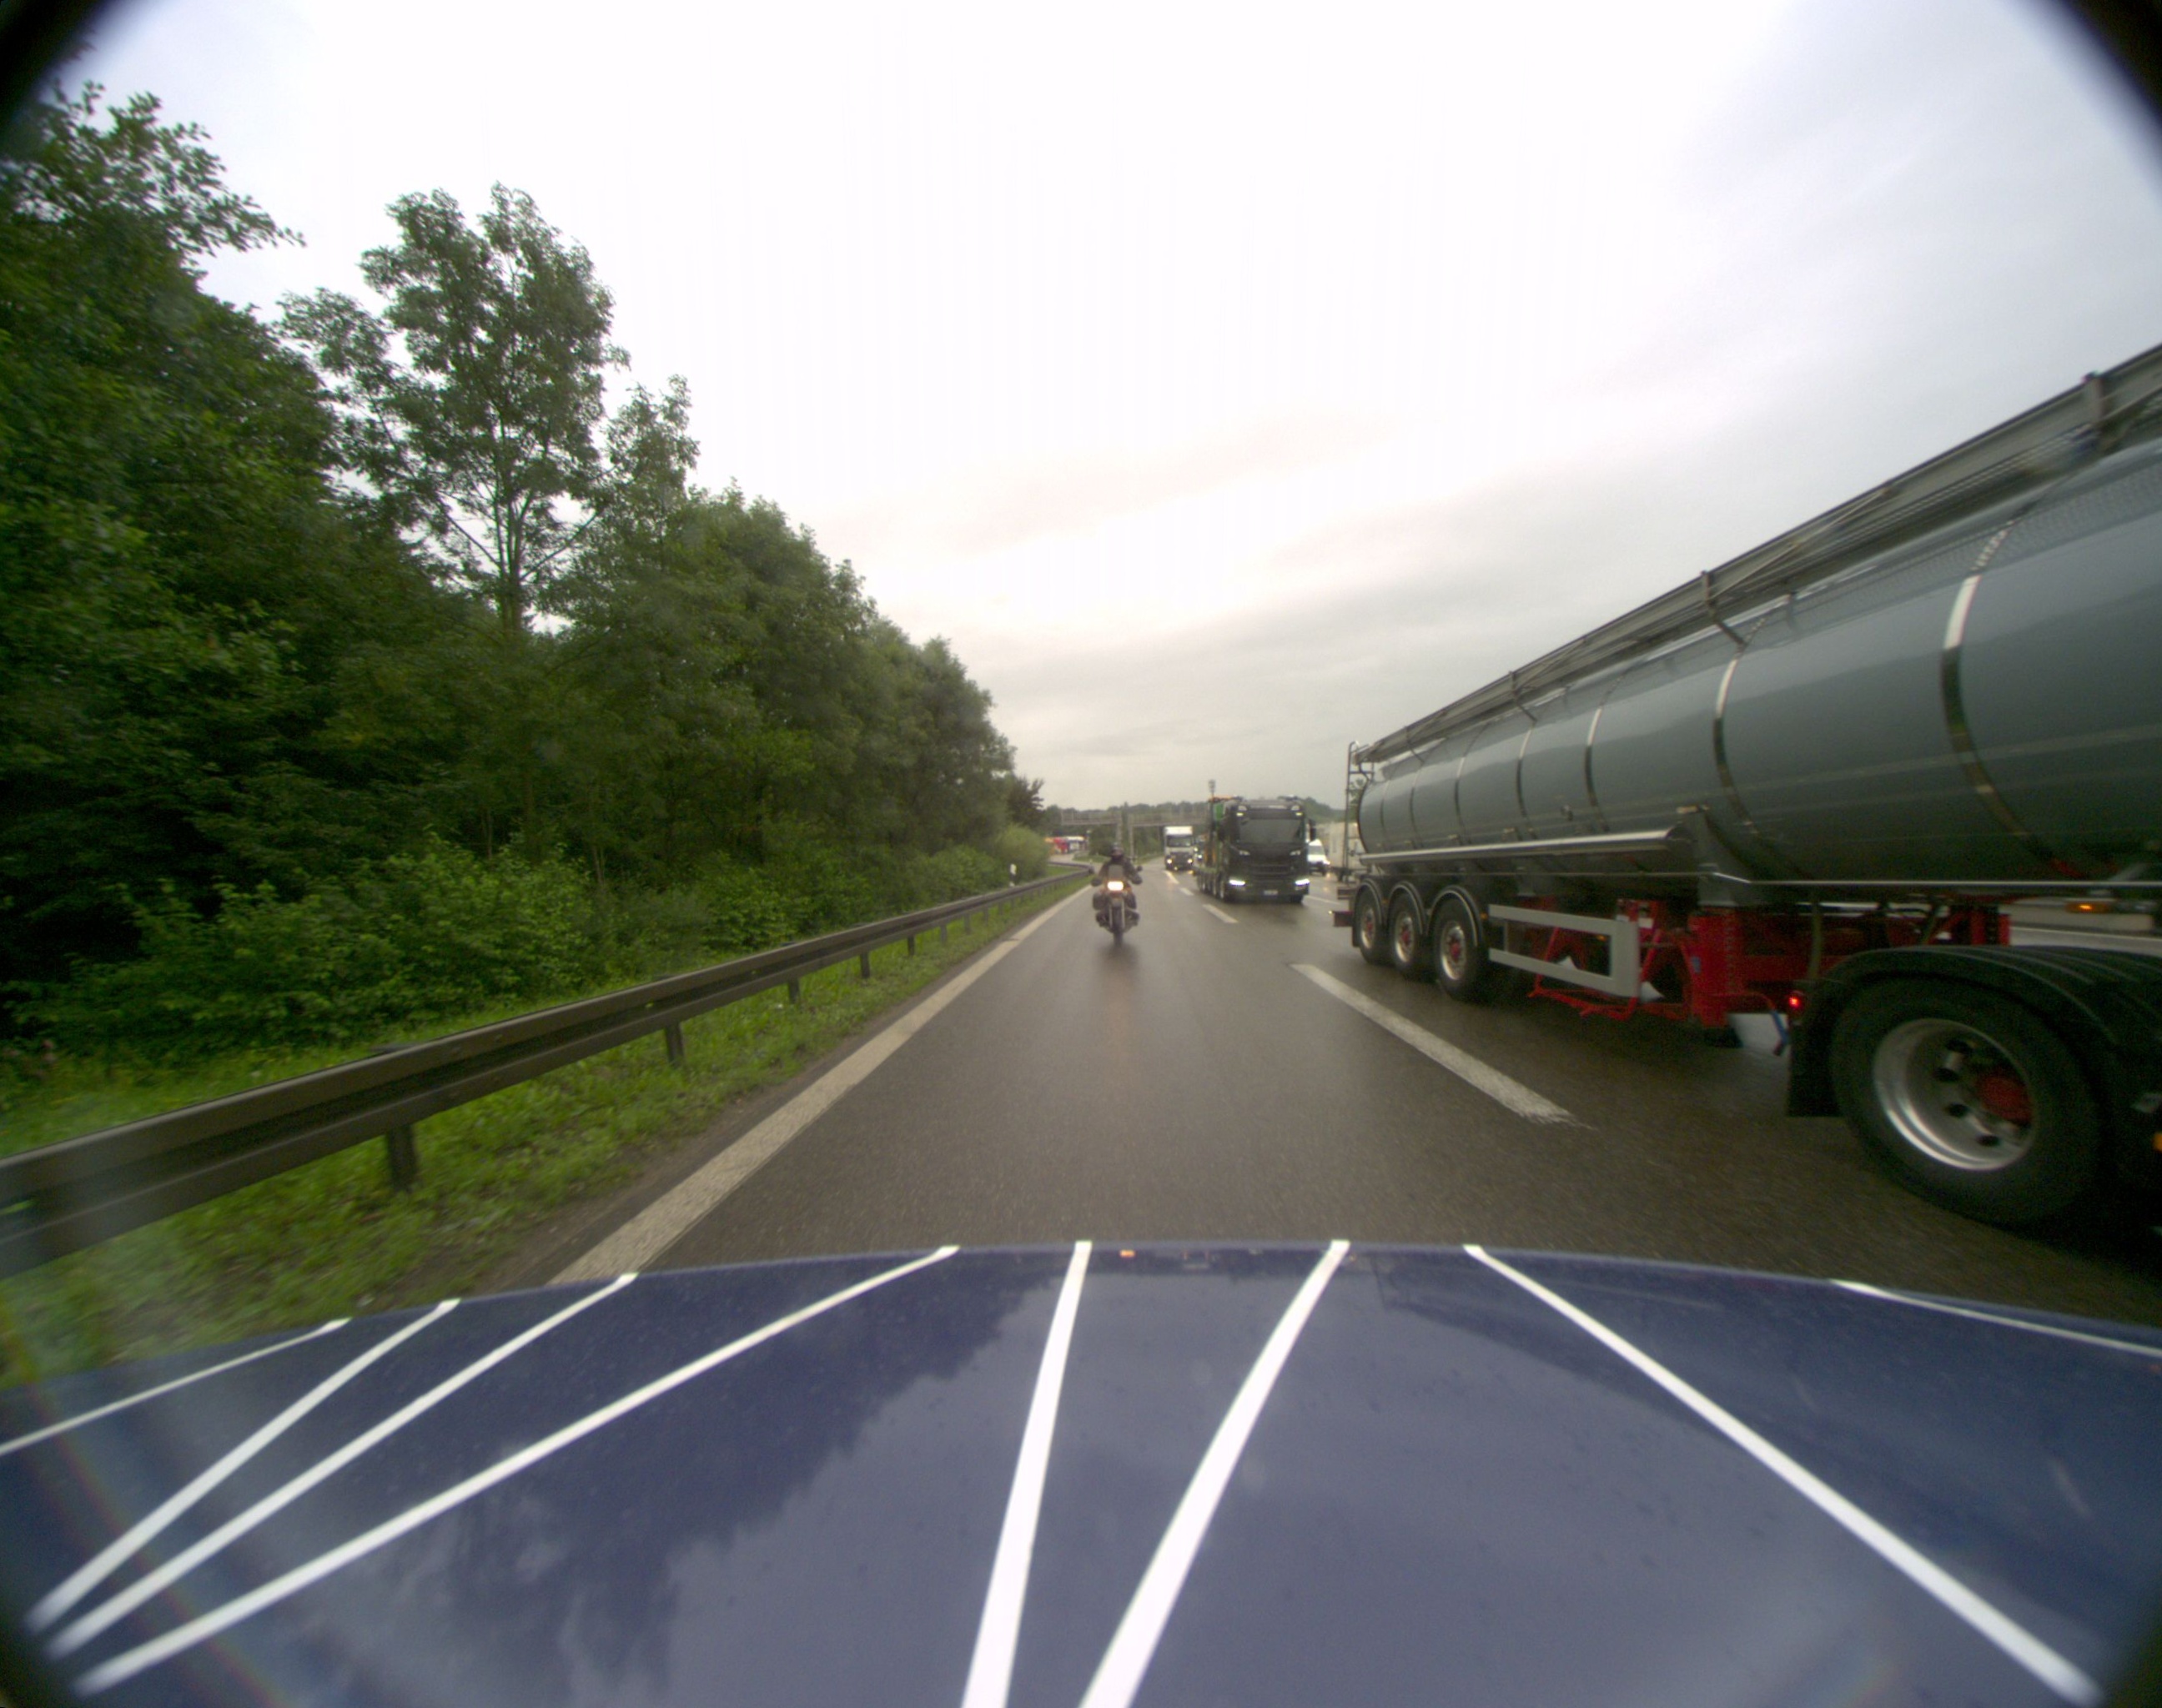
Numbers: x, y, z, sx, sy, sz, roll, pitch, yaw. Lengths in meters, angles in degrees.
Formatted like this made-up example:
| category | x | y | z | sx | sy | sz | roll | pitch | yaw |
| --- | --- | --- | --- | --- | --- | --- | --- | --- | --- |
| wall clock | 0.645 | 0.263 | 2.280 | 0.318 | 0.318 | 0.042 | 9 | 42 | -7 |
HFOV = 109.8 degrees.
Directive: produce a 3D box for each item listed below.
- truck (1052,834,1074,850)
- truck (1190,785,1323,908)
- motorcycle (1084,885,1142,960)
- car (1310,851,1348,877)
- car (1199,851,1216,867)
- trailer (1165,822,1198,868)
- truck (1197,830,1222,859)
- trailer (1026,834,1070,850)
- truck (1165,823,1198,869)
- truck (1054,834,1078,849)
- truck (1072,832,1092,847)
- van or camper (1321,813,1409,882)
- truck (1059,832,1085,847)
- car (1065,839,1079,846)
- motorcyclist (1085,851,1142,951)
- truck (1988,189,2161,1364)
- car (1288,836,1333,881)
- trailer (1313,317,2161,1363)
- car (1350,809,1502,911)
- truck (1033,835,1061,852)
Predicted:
| category | x | y | z | sx | sy | sz | roll | pitch | yaw |
| --- | --- | --- | --- | --- | --- | --- | --- | --- | --- |
| truck | -4.611 | -3.059 | 194.191 | 3.252 | 3.897 | 5.007 | -3 | 3 | -39 |
| truck | 5.973 | -0.289 | 28.058 | 2.837 | 3.568 | 11.799 | 0 | 1 | 3 |
| motorcycle | 0.582 | 1.096 | 12.765 | 0.878 | 1.016 | 2.353 | -1 | 1 | 5 |
| car | 20.470 | 0.791 | 62.954 | 1.998 | 2.002 | 4.218 | -1 | 0 | 4 |
| car | 16.048 | 0.629 | 96.704 | 1.761 | 1.762 | 4.000 | -4 | 2 | 6 |
| trailer | 10.249 | -0.980 | 77.309 | 2.924 | 4.181 | 13.641 | -1 | 1 | 8 |
| truck | 20.518 | -1.618 | 121.594 | 3.353 | 4.048 | 12.576 | -4 | 2 | 9 |
| trailer | -8.799 | -3.186 | 199.462 | 3.252 | 3.897 | 14.788 | -3 | 2 | -39 |
| truck | 9.437 | -0.793 | 71.250 | 2.924 | 4.076 | 6.721 | -1 | 1 | 8 |
| truck | -3.941 | -3.278 | 199.207 | 2.905 | 3.897 | 6.537 | -3 | 3 | -39 |
| truck | 0.266 | -4.401 | 231.861 | 3.251 | 4.362 | 5.797 | -4 | 3 | -39 |
| van or camper | 14.600 | -0.361 | 39.620 | 2.585 | 3.186 | 7.133 | -1 | 1 | 6 |
| truck | -2.669 | -4.263 | 223.344 | 3.252 | 4.069 | 7.916 | -3 | 2 | -39 |
| car | -2.614 | -3.186 | 215.796 | 1.851 | 1.848 | 3.989 | -3 | 2 | -36 |
| motorcyclist | 0.573 | 0.740 | 12.693 | 0.878 | 1.559 | 1.373 | -1 | 1 | 4 |
| truck | 4.741 | -0.244 | 0.266 | 2.884 | 3.672 | 5.057 | -1 | 0 | 2 |
| car | 15.972 | 0.260 | 53.086 | 1.998 | 2.819 | 4.000 | -4 | 2 | 4 |
| trailer | 4.977 | -0.068 | 7.012 | 2.880 | 3.269 | 10.078 | -1 | 0 | 2 |
| car | 9.921 | 0.115 | 22.505 | 2.220 | 2.614 | 5.844 | -1 | 1 | 5 |
| truck | -8.144 | -2.549 | 180.830 | 2.845 | 3.897 | 8.108 | -2 | 2 | -35 |
